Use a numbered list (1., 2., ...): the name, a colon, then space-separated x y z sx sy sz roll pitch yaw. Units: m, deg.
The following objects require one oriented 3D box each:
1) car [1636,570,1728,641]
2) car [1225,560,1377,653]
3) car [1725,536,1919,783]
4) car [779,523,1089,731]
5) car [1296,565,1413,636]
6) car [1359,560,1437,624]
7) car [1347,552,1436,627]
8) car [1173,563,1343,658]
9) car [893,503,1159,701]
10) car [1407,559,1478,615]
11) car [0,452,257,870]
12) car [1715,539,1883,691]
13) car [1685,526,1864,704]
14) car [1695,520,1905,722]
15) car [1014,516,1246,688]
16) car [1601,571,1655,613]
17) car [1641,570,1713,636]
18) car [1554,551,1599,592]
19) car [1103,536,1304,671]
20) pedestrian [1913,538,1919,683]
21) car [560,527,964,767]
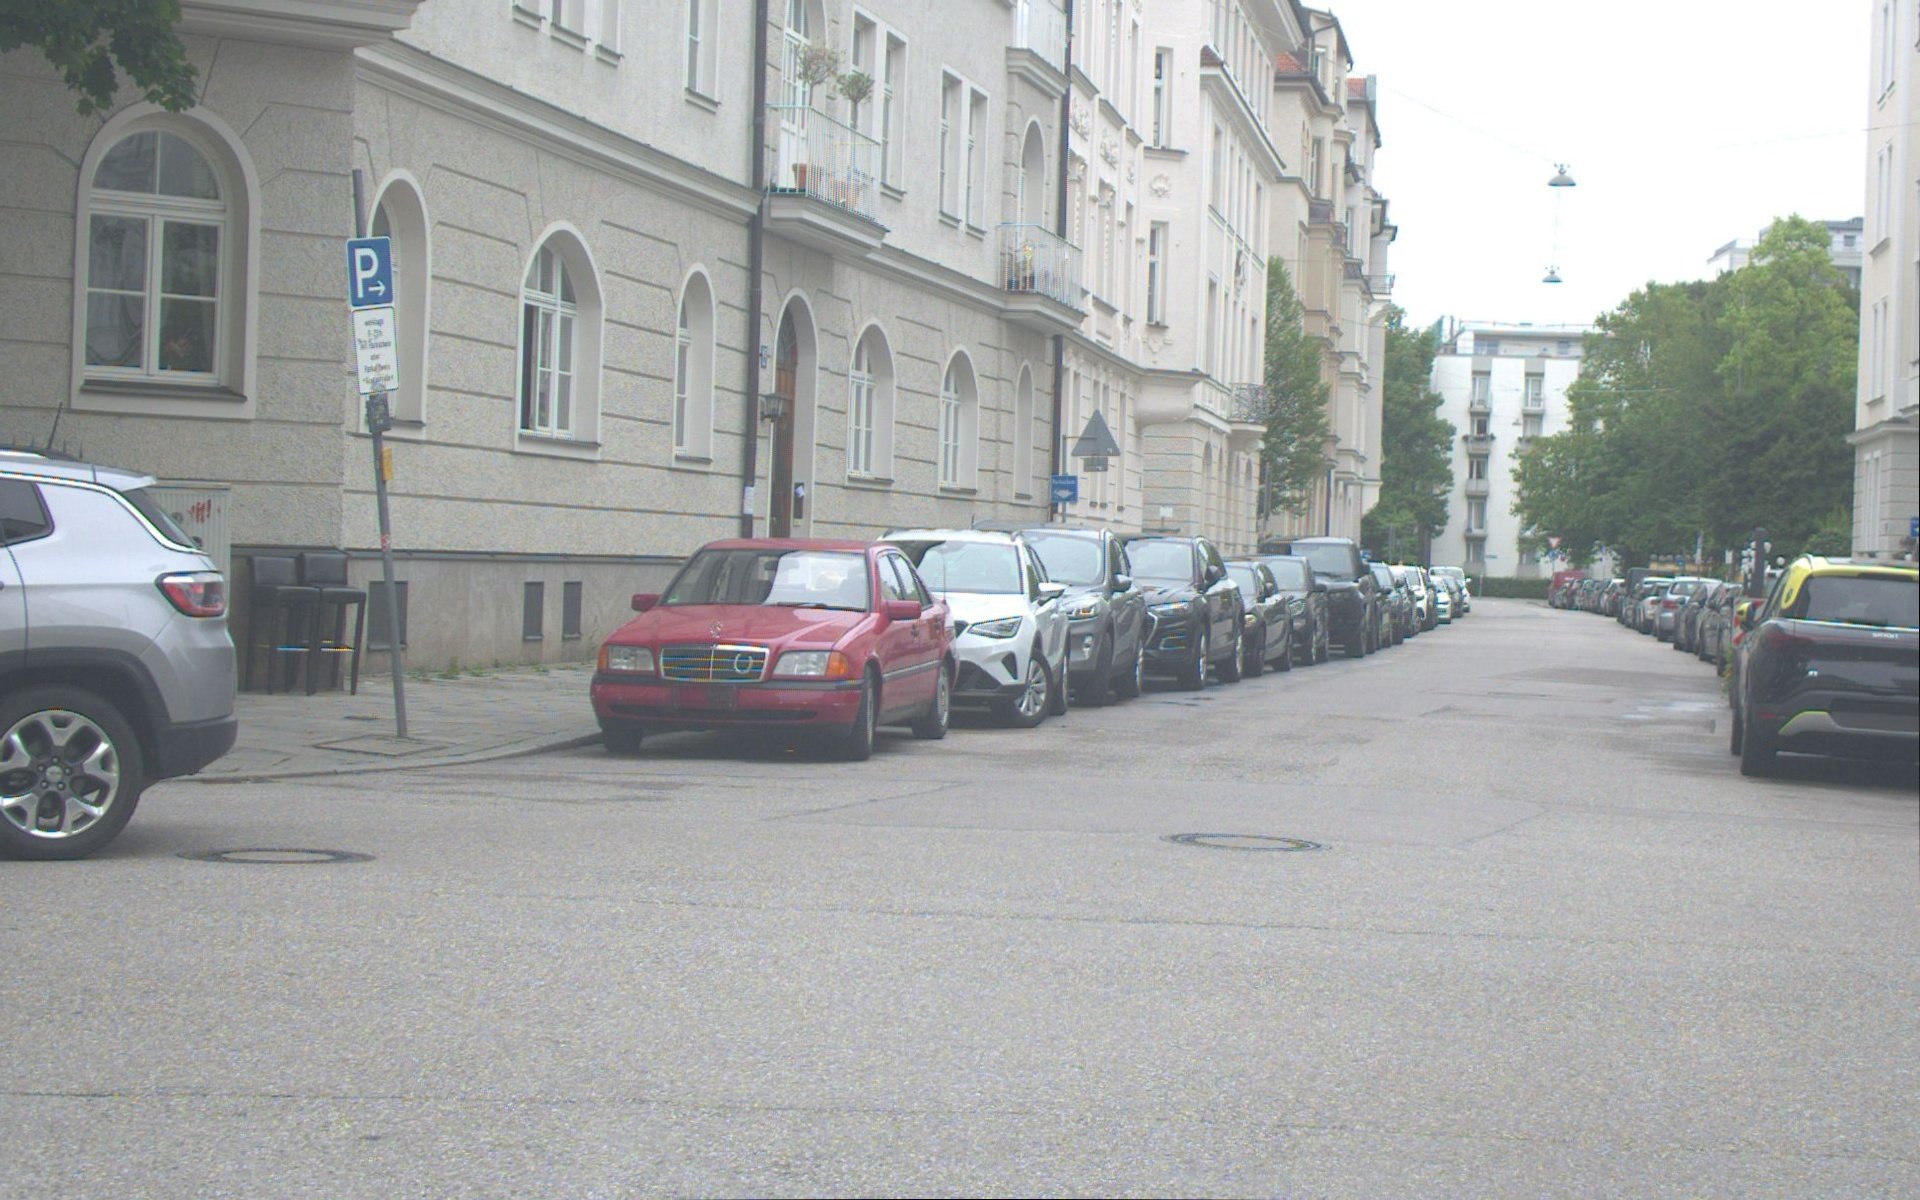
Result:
1. car: 17.438 0.111 83.148 1.907 1.571 3.999 2 1 9
2. car: 5.385 0.066 53.902 1.907 1.324 3.998 2 1 12
3. car: 6.837 0.415 26.033 1.821 1.630 4.287 4 1 11
4. car: -0.123 0.168 27.685 1.994 1.468 4.218 2 1 6
5. car: 7.535 -0.021 65.352 1.907 1.218 3.998 2 1 10
6. car: 10.553 -0.217 82.622 1.734 1.415 3.999 2 1 8
7. car: 9.655 -0.253 76.730 1.821 1.568 3.999 2 1 8
8. car: 4.307 0.122 49.238 1.907 1.218 3.998 2 1 12
9. car: 0.690 -0.012 32.430 1.994 1.670 4.011 2 1 8
10. car: 14.527 -0.418 103.421 1.994 1.568 3.999 2 1 8
11. car: -5.155 0.179 13.521 4.294 1.602 1.964 1 1 -26
12. car: 11.216 0.164 46.074 1.995 1.850 4.342 3 1 13
13. car: 9.827 0.143 41.710 1.821 1.917 4.181 4 1 11
14. car: 8.767 0.178 36.158 1.821 1.864 4.287 4 1 11
15. car: 1.896 -0.007 37.086 1.994 1.670 4.287 2 1 9
16. car: 26.884 -0.346 138.387 1.951 1.646 3.999 1 1 9
17. car: 23.187 0.078 111.355 1.994 1.975 4.891 3 1 9
18. car: 31.779 -1.500 177.269 1.994 1.975 4.892 3 1 8
19. car: 3.123 0.017 43.407 1.927 1.541 3.998 3 1 12
20. pedestrian: 12.704 0.138 44.102 0.778 1.844 1.022 2 1 12
21. car: -1.198 0.251 22.762 1.731 1.373 4.225 2 1 9
